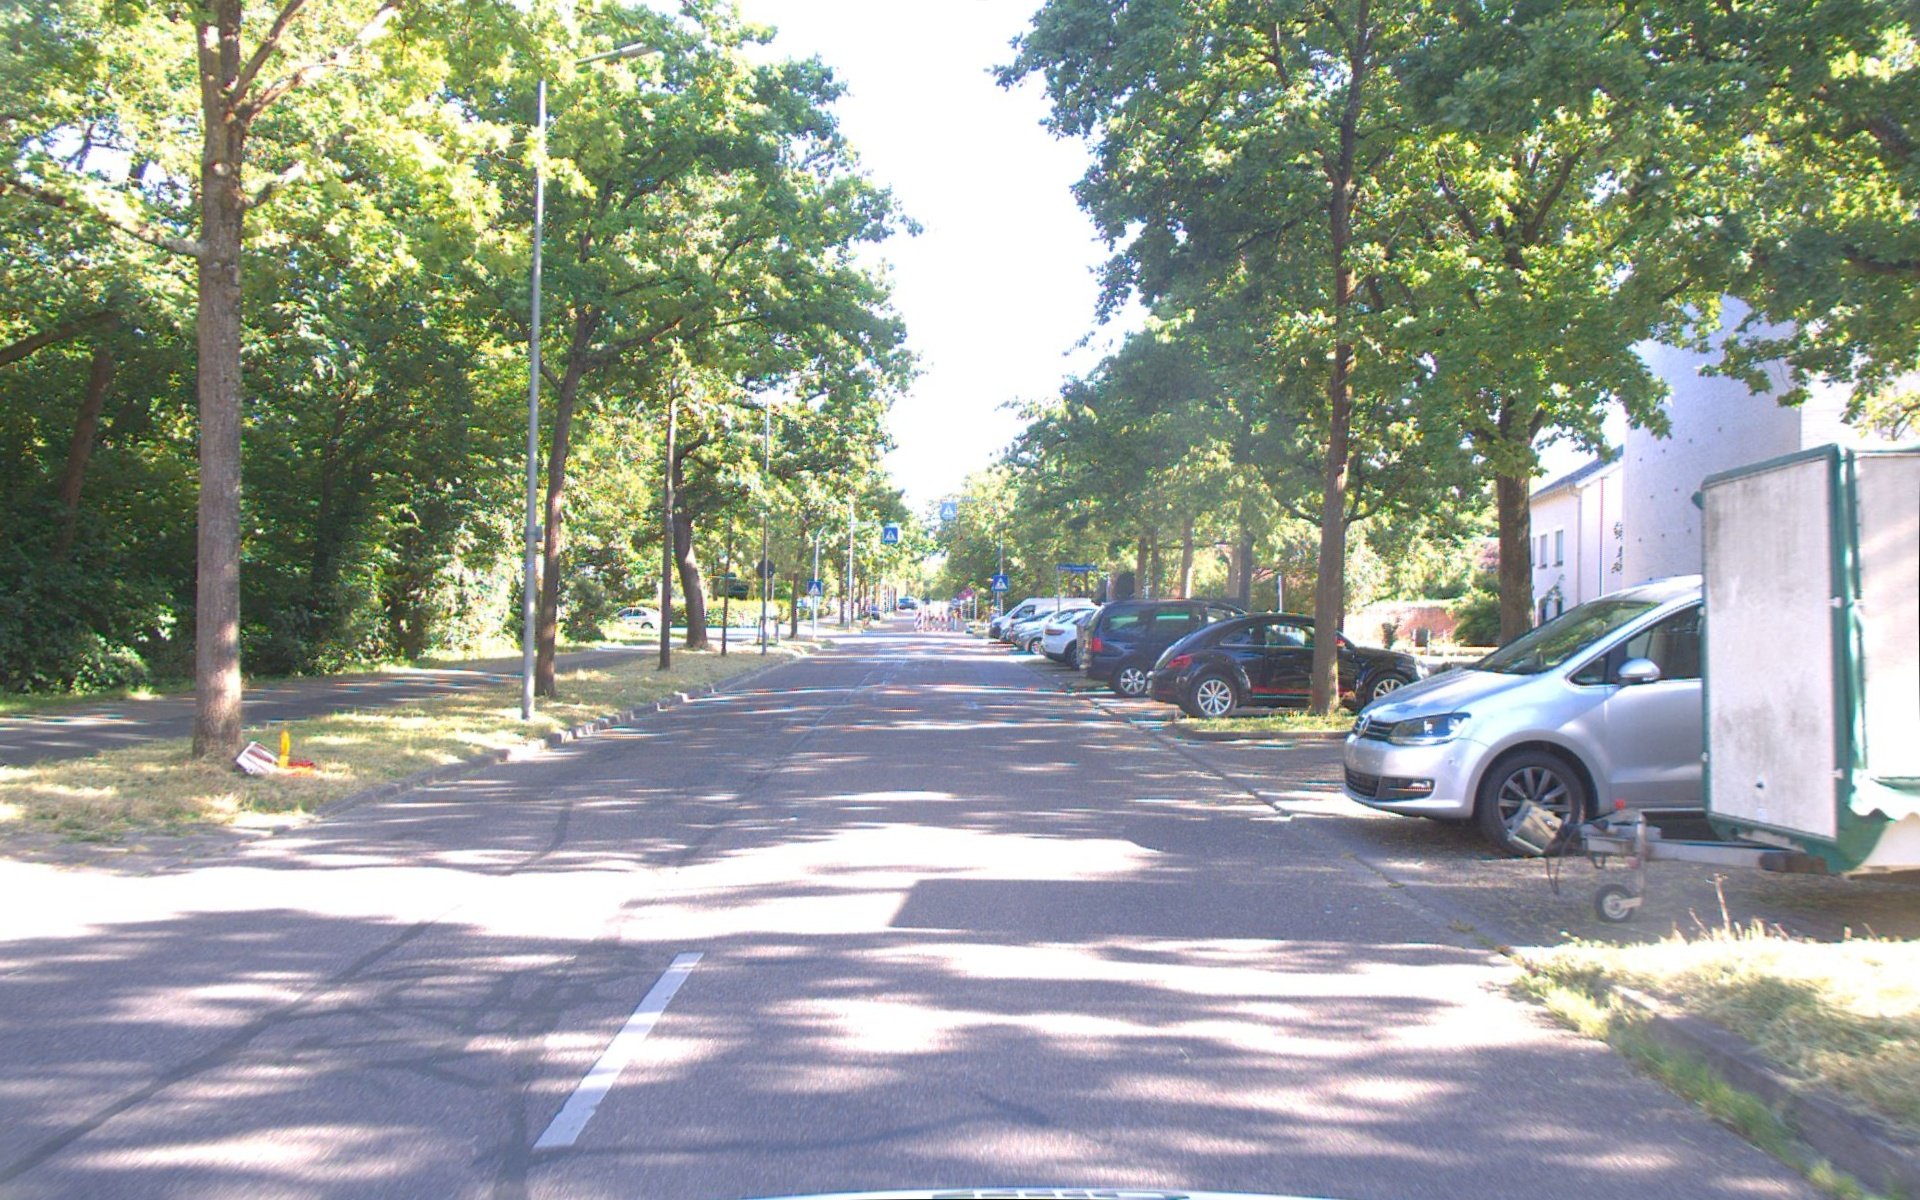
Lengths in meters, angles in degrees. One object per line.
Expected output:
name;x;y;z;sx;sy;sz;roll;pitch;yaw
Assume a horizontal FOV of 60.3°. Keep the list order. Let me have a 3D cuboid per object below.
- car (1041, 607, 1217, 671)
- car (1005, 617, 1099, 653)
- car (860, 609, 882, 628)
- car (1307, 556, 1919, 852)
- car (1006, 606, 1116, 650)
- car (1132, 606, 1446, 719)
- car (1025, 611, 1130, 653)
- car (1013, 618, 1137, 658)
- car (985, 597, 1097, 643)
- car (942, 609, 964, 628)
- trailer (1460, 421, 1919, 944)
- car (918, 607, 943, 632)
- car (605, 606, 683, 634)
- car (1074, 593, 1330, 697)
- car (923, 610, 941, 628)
car;4.529;1.040;44.817;4.575;1.608;1.916;-1;0;-1
car;3.869;1.466;70.217;3.905;1.458;1.901;1;-1;0
car;-8.617;1.798;160.962;1.953;1.747;3.999;1;-1;-2
car;4.838;0.637;11.163;4.547;1.752;1.987;-1;-1;0
car;4.108;1.124;67.725;4.297;1.680;1.850;-1;0;-3
car;4.685;0.878;24.036;4.158;1.545;2.078;0;-1;0
car;4.468;1.212;63.194;3.806;1.523;1.776;-1;-1;-2
car;4.157;1.363;60.117;4.355;1.414;1.910;0;-1;-1
car;3.788;0.944;78.033;5.083;2.142;2.081;0;-1;-3
car;-0.686;1.726;154.704;1.953;1.747;3.999;1;-1;-2
trailer;5.635;0.343;8.386;5.655;2.358;1.686;-1;-1;1
car;-2.423;1.548;133.822;1.953;1.967;3.999;1;-1;-2
car;-17.899;1.138;93.702;3.902;1.510;2.001;1;-1;7
car;4.403;0.812;30.643;4.438;1.833;1.936;0;-1;-1
car;-3.143;2.117;184.223;1.953;2.003;3.999;1;-1;-2
